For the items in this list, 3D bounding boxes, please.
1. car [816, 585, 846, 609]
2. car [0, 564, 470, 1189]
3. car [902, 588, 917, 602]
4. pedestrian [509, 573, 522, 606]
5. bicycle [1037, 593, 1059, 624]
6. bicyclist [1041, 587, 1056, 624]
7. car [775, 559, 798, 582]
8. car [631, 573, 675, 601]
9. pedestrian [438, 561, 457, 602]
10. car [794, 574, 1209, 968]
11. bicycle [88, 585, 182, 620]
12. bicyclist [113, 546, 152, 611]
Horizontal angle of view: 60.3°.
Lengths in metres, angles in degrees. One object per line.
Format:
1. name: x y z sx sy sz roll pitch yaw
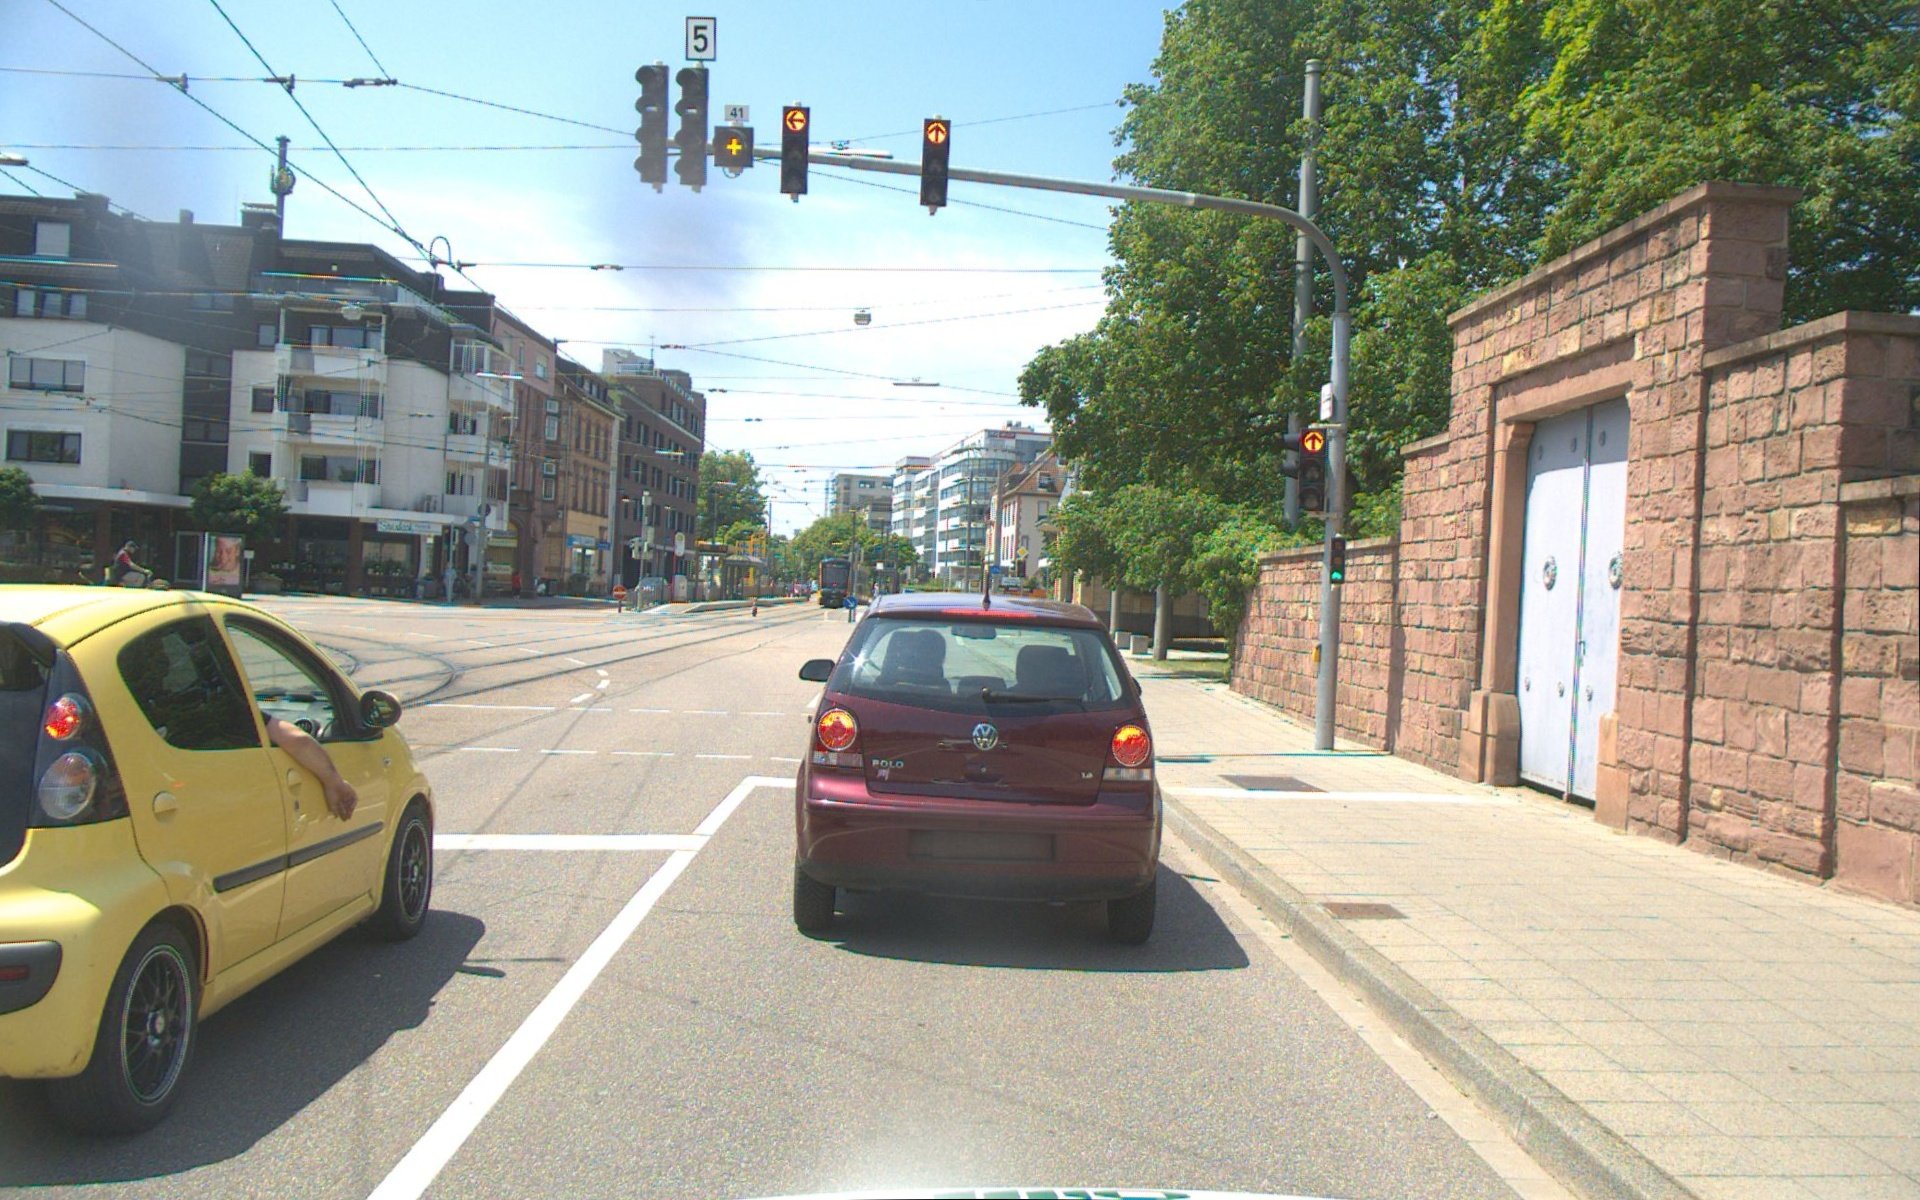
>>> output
1. car: -9.101 -0.192 117.156 1.899 1.670 3.999 1 -1 -1
2. car: -2.935 0.620 5.507 1.688 1.470 3.292 1 1 -2
3. car: -5.232 -0.522 172.536 1.540 1.440 3.719 0 0 -1
4. pedestrian: -21.348 -0.511 79.473 0.474 1.568 0.538 1 -1 -4
5. bicycle: 4.521 0.437 85.130 0.818 1.552 3.999 1 -1 -1
6. bicyclist: 4.496 0.280 84.003 0.707 1.850 0.888 1 -1 -1
7. car: -16.218 -2.729 154.509 1.700 2.049 3.999 2 0 -1
8. car: -17.222 -0.708 92.926 1.654 1.488 4.000 2 0 1
9. pedestrian: -22.605 -0.815 72.922 0.497 1.785 0.606 0 -1 45
10. car: 0.105 0.664 8.560 1.577 1.489 4.084 3 0 -2
11. bicycle: -19.744 0.069 39.628 1.953 0.797 0.463 1 -1 -23
12. bicyclist: -19.808 -0.517 39.597 0.739 1.527 0.478 1 -1 -22
